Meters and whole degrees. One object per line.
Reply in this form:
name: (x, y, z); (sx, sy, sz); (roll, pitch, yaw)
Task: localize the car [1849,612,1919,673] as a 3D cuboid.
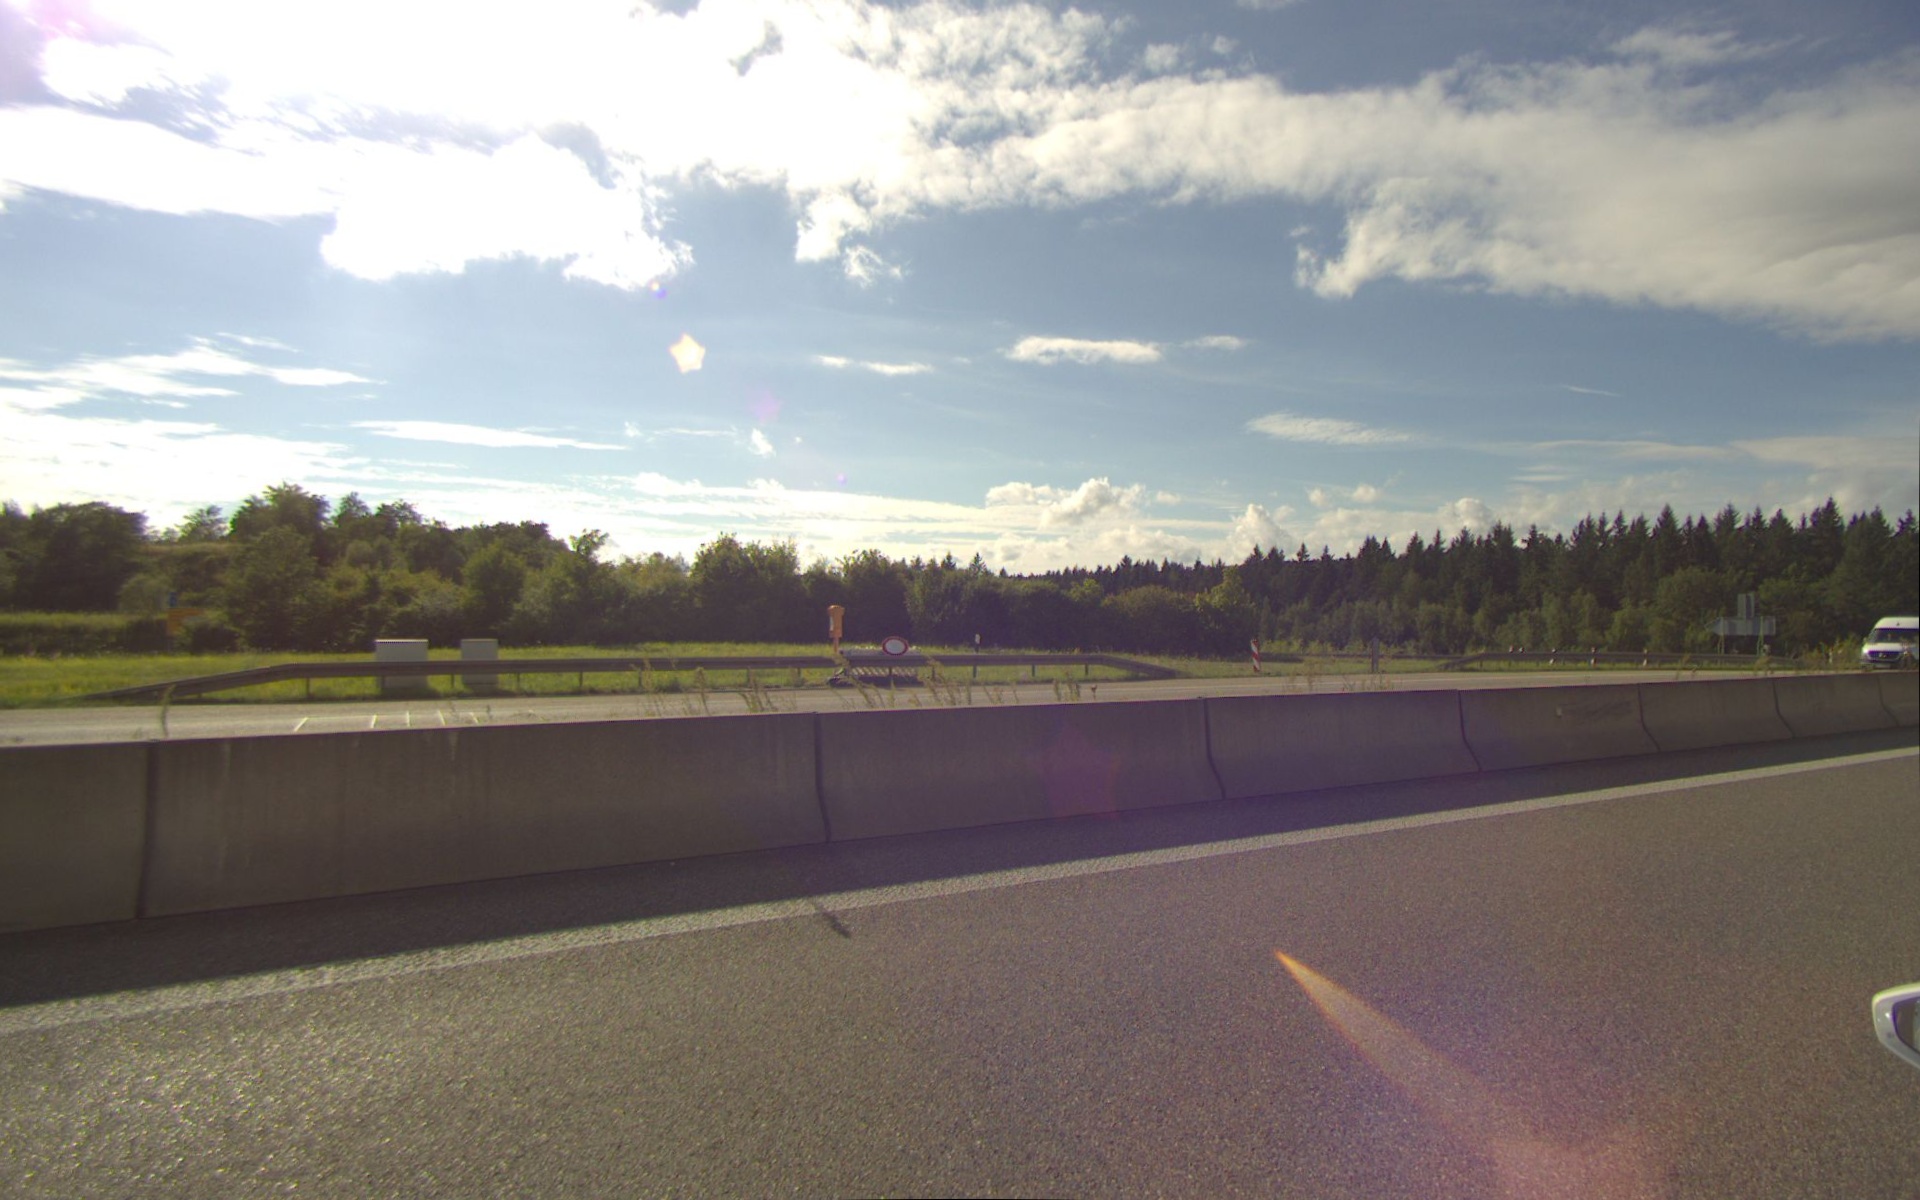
car: (43.846, 1.960, 46.362); (7.236, 2.613, 2.023); (2, 0, -30)
